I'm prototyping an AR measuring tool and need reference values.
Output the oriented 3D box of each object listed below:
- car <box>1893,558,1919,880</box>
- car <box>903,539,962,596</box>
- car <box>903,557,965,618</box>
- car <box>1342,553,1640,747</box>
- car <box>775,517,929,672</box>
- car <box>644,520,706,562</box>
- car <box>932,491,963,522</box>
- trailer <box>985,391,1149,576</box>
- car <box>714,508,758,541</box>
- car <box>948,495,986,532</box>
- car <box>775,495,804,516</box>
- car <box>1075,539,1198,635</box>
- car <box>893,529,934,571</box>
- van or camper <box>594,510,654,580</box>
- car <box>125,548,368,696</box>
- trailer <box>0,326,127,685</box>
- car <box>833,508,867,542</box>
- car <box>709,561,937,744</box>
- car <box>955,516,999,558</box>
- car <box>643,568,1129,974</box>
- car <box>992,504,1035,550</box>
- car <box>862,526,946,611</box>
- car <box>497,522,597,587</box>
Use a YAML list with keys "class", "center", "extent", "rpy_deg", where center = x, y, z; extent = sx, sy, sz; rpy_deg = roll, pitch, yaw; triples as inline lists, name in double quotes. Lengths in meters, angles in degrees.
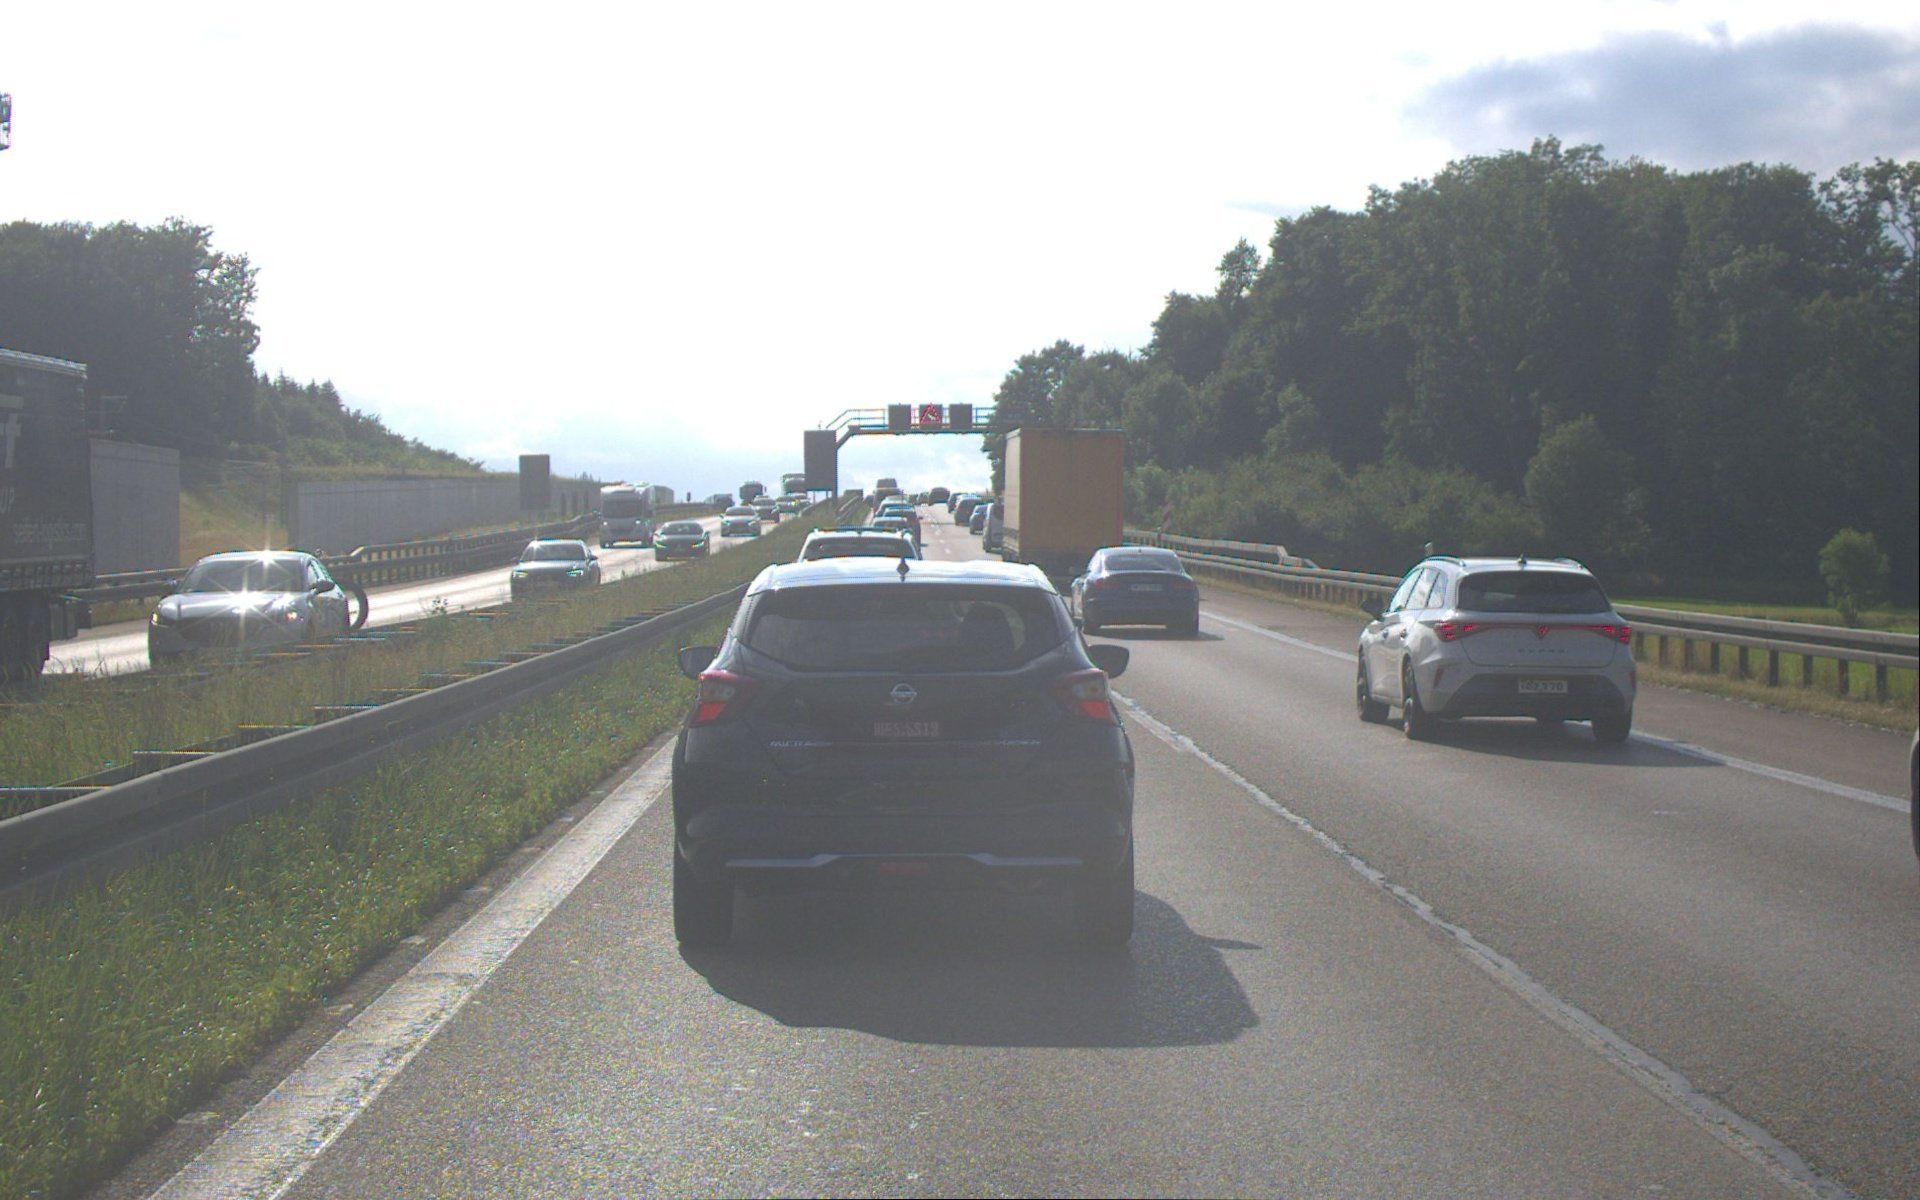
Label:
- class: "car"
  center: [5.281, 0.589, 14.661]
  extent: [1.548, 1.490, 3.378]
  rpy_deg: [1, 1, -2]
- class: "car"
  center: [-1.005, -1.161, 123.667]
  extent: [1.993, 2.007, 4.000]
  rpy_deg: [1, 0, -2]
- class: "car"
  center: [-0.903, -0.435, 117.056]
  extent: [1.993, 2.007, 4.000]
  rpy_deg: [1, 0, -2]
- class: "car"
  center: [4.232, 0.365, 27.969]
  extent: [1.620, 1.441, 4.147]
  rpy_deg: [1, 0, -2]
- class: "car"
  center: [-1.235, -0.072, 40.476]
  extent: [1.674, 1.720, 3.596]
  rpy_deg: [1, 0, 0]
- class: "car"
  center: [-10.235, -2.111, 123.719]
  extent: [1.993, 1.428, 4.449]
  rpy_deg: [1, 0, -2]
- class: "car"
  center: [-0.858, -6.333, 232.468]
  extent: [1.993, 2.007, 4.000]
  rpy_deg: [1, 0, -2]
- class: "trailer"
  center: [2.651, -2.864, 89.863]
  extent: [3.548, 4.442, 12.723]
  rpy_deg: [1, 0, -1]
- class: "car"
  center: [-11.272, -3.781, 173.272]
  extent: [1.993, 1.587, 4.449]
  rpy_deg: [1, 0, -2]
- class: "car"
  center: [0.376, -4.793, 191.037]
  extent: [1.993, 2.007, 4.000]
  rpy_deg: [1, 0, -2]
- class: "car"
  center: [-12.430, -6.906, 251.423]
  extent: [1.993, 1.428, 4.449]
  rpy_deg: [1, 0, -2]
- class: "car"
  center: [2.790, -0.210, 55.091]
  extent: [1.747, 1.470, 4.147]
  rpy_deg: [1, 0, 0]
- class: "car"
  center: [-1.995, -2.135, 148.377]
  extent: [1.667, 1.749, 3.327]
  rpy_deg: [1, 0, 1]
- class: "van or camper"
  center: [-15.075, -2.441, 154.505]
  extent: [2.225, 3.068, 6.514]
  rpy_deg: [1, 0, -2]
- class: "car"
  center: [-8.410, 0.228, 40.954]
  extent: [1.888, 1.626, 5.111]
  rpy_deg: [1, 0, -1]
- class: "trailer"
  center: [-12.341, -1.083, 39.088]
  extent: [2.759, 4.101, 12.904]
  rpy_deg: [0, 0, -1]
- class: "car"
  center: [-6.598, -4.506, 206.950]
  extent: [1.993, 2.007, 4.000]
  rpy_deg: [1, 0, -2]
- class: "car"
  center: [-1.044, 0.387, 27.694]
  extent: [1.674, 1.362, 3.596]
  rpy_deg: [1, 0, 0]
- class: "car"
  center: [0.820, -3.111, 169.784]
  extent: [1.993, 2.007, 4.000]
  rpy_deg: [1, 0, -2]
- class: "car"
  center: [-0.242, 0.599, 13.887]
  extent: [1.710, 1.421, 3.378]
  rpy_deg: [1, 0, 1]
- class: "car"
  center: [2.140, -2.891, 136.874]
  extent: [1.667, 1.749, 3.327]
  rpy_deg: [1, 0, 1]
- class: "car"
  center: [-1.410, -0.774, 84.921]
  extent: [1.993, 2.007, 4.000]
  rpy_deg: [1, 0, -2]
- class: "car"
  center: [-9.607, -1.047, 80.190]
  extent: [1.902, 1.459, 4.184]
  rpy_deg: [1, 0, -1]
